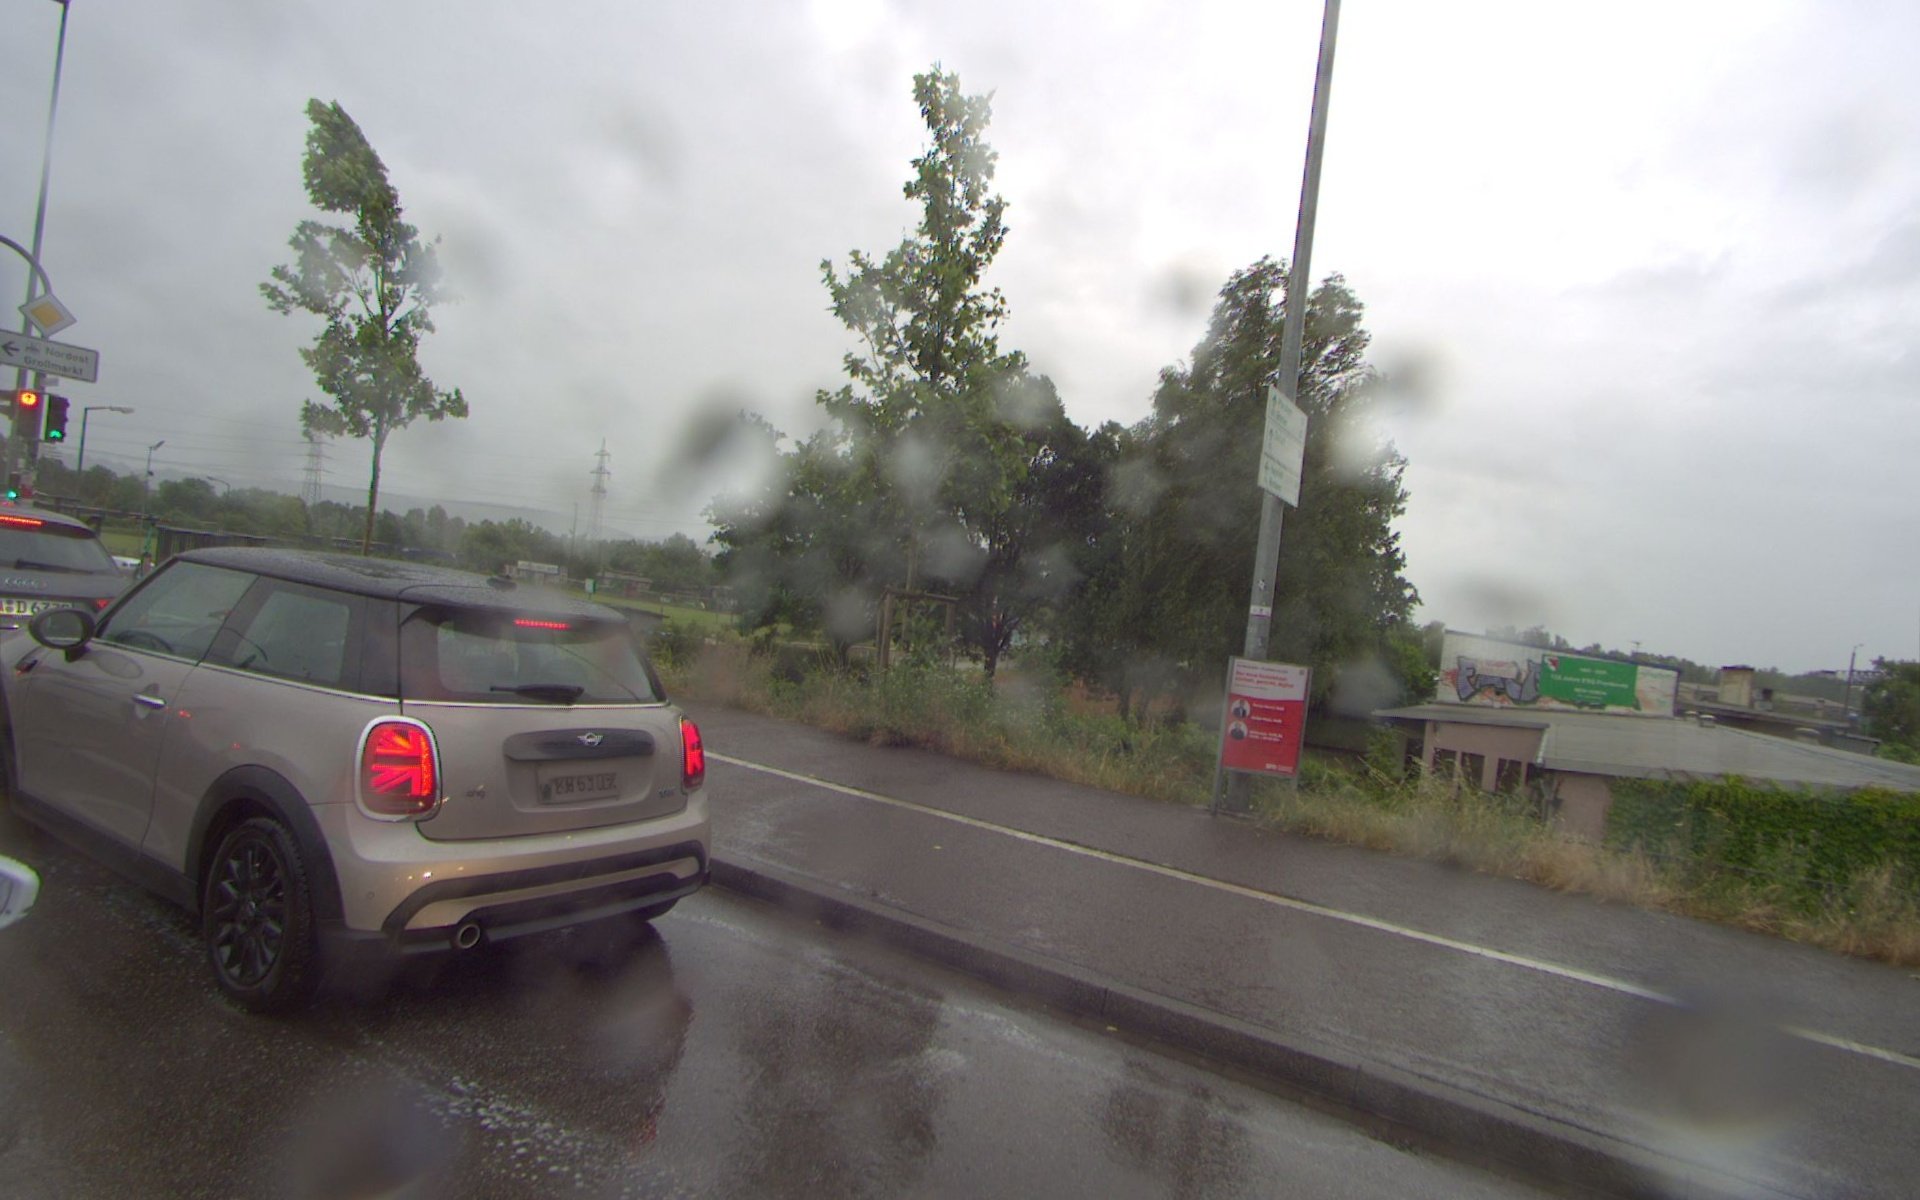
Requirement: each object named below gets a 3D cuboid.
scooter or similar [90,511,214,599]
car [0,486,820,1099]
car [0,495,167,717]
[{"bbox_3d":[-13.877,-0.793,17.238,2.971,1.226,0.691,7,0,33],"label":"scooter or similar"},{"bbox_3d":[-2.709,0.478,4.317,3.816,1.524,1.707,5,-4,32],"label":"car"},{"bbox_3d":[-7.488,-0.095,7.215,3.571,1.383,1.599,5,-1,31],"label":"car"}]
